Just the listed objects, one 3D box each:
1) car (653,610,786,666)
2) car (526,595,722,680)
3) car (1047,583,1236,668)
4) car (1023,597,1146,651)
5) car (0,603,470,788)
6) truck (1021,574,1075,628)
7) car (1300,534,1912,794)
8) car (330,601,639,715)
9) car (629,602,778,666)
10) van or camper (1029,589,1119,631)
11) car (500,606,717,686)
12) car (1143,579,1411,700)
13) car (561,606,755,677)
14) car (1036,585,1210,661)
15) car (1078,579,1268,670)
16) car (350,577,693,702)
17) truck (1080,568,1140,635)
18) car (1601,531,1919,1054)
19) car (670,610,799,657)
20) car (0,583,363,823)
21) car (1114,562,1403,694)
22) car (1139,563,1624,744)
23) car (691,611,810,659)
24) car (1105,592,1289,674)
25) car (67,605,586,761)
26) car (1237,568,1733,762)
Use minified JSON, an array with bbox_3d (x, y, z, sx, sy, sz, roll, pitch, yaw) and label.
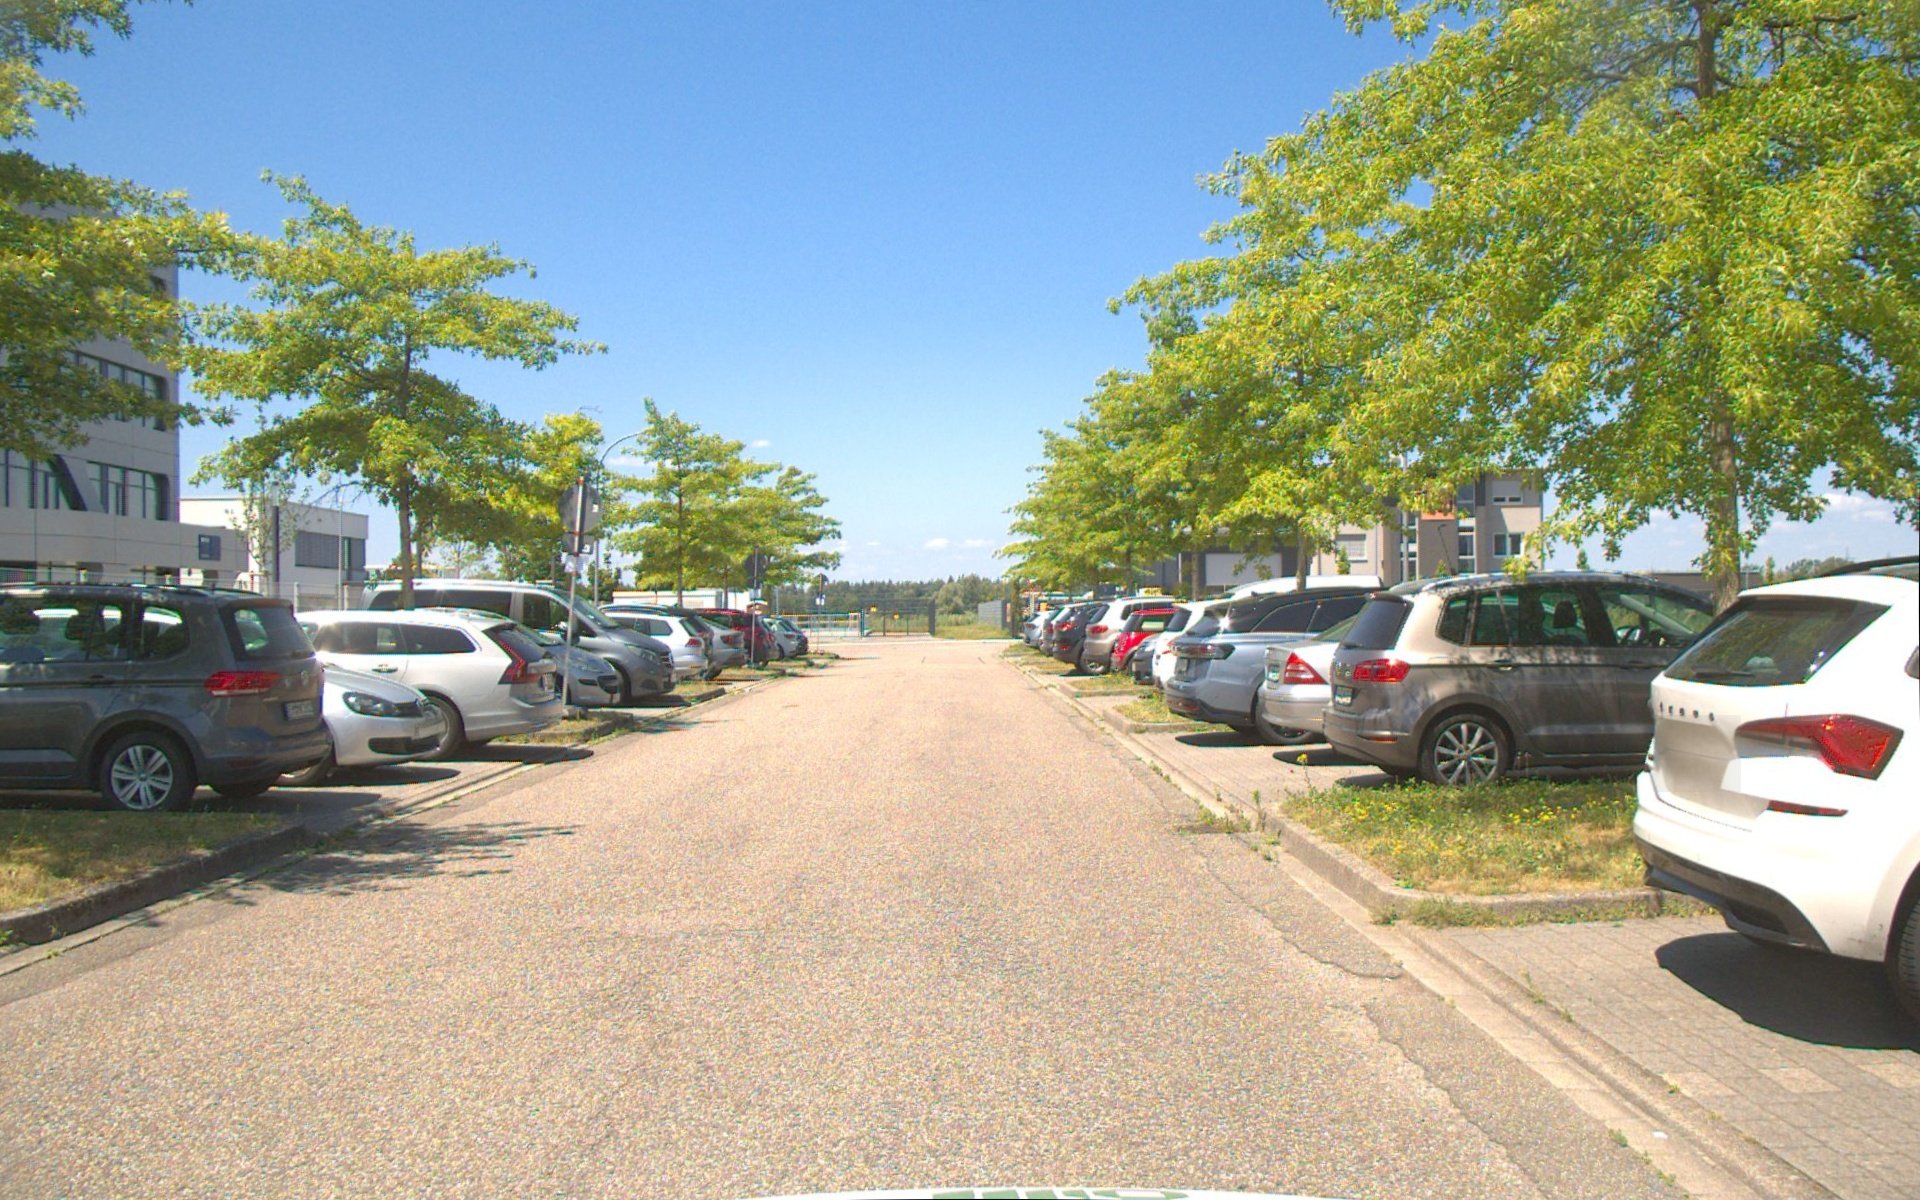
[{"bbox_3d":[-6.745,1.053,46.731,3.584,1.535,1.729,1,-1,-5],"label":"car"},{"bbox_3d":[-7.133,0.801,35.462,3.910,1.708,1.775,1,-1,-6],"label":"car"},{"bbox_3d":[4.162,0.583,38.310,4.090,1.726,1.781,-3,-1,-2],"label":"car"},{"bbox_3d":[4.404,0.845,58.996,4.192,1.673,1.850,-3,-1,-1],"label":"car"},{"bbox_3d":[-6.702,0.802,14.631,4.225,1.499,1.726,1,0,-3],"label":"car"},{"bbox_3d":[5.277,0.080,100.137,2.671,3.115,6.933,-1,0,-1],"label":"truck"},{"bbox_3d":[4.793,0.462,12.666,3.964,1.653,1.693,-3,0,0],"label":"car"},{"bbox_3d":[-6.741,0.803,23.743,3.888,1.510,1.763,1,0,-1],"label":"car"},{"bbox_3d":[-6.807,0.899,44.117,3.661,1.650,1.816,0,-1,0],"label":"car"},{"bbox_3d":[6.328,0.550,92.368,4.836,2.201,2.000,-2,1,-2],"label":"van or camper"},{"bbox_3d":[-6.883,0.892,32.688,3.957,1.486,1.603,1,-1,-4],"label":"car"},{"bbox_3d":[4.579,0.564,24.234,3.557,1.529,1.676,-3,-1,0],"label":"car"},{"bbox_3d":[-6.858,0.935,37.854,4.107,1.506,1.712,1,-1,-1],"label":"car"},{"bbox_3d":[4.344,0.620,44.622,4.360,1.799,1.992,-3,0,-3],"label":"car"},{"bbox_3d":[4.538,0.520,35.609,3.796,1.707,1.782,-3,-1,-1],"label":"car"},{"bbox_3d":[-6.980,0.617,26.711,4.965,1.925,1.997,0,0,0],"label":"car"},{"bbox_3d":[9.392,0.122,104.284,2.862,3.998,6.933,-1,0,-1],"label":"truck"},{"bbox_3d":[4.459,0.517,5.780,3.754,1.580,1.780,-2,0,5],"label":"car"},{"bbox_3d":[-7.256,1.090,53.610,3.995,1.449,1.872,1,-1,-5],"label":"car"},{"bbox_3d":[-6.827,0.710,12.424,4.034,1.663,1.727,1,0,-2],"label":"car"},{"bbox_3d":[4.789,0.443,26.965,4.313,1.862,1.795,-3,-1,0],"label":"car"},{"bbox_3d":[4.413,0.544,17.740,4.624,1.588,1.912,-3,0,-5],"label":"car"},{"bbox_3d":[-7.054,1.192,55.993,3.849,1.547,1.783,1,-1,-4],"label":"car"},{"bbox_3d":[4.734,0.658,33.387,3.388,1.441,1.754,-3,0,-1],"label":"car"},{"bbox_3d":[-6.363,0.822,17.062,4.620,1.472,1.856,1,0,-4],"label":"car"},{"bbox_3d":[4.692,0.570,15.167,3.964,1.478,1.645,-3,0,0],"label":"car"}]
